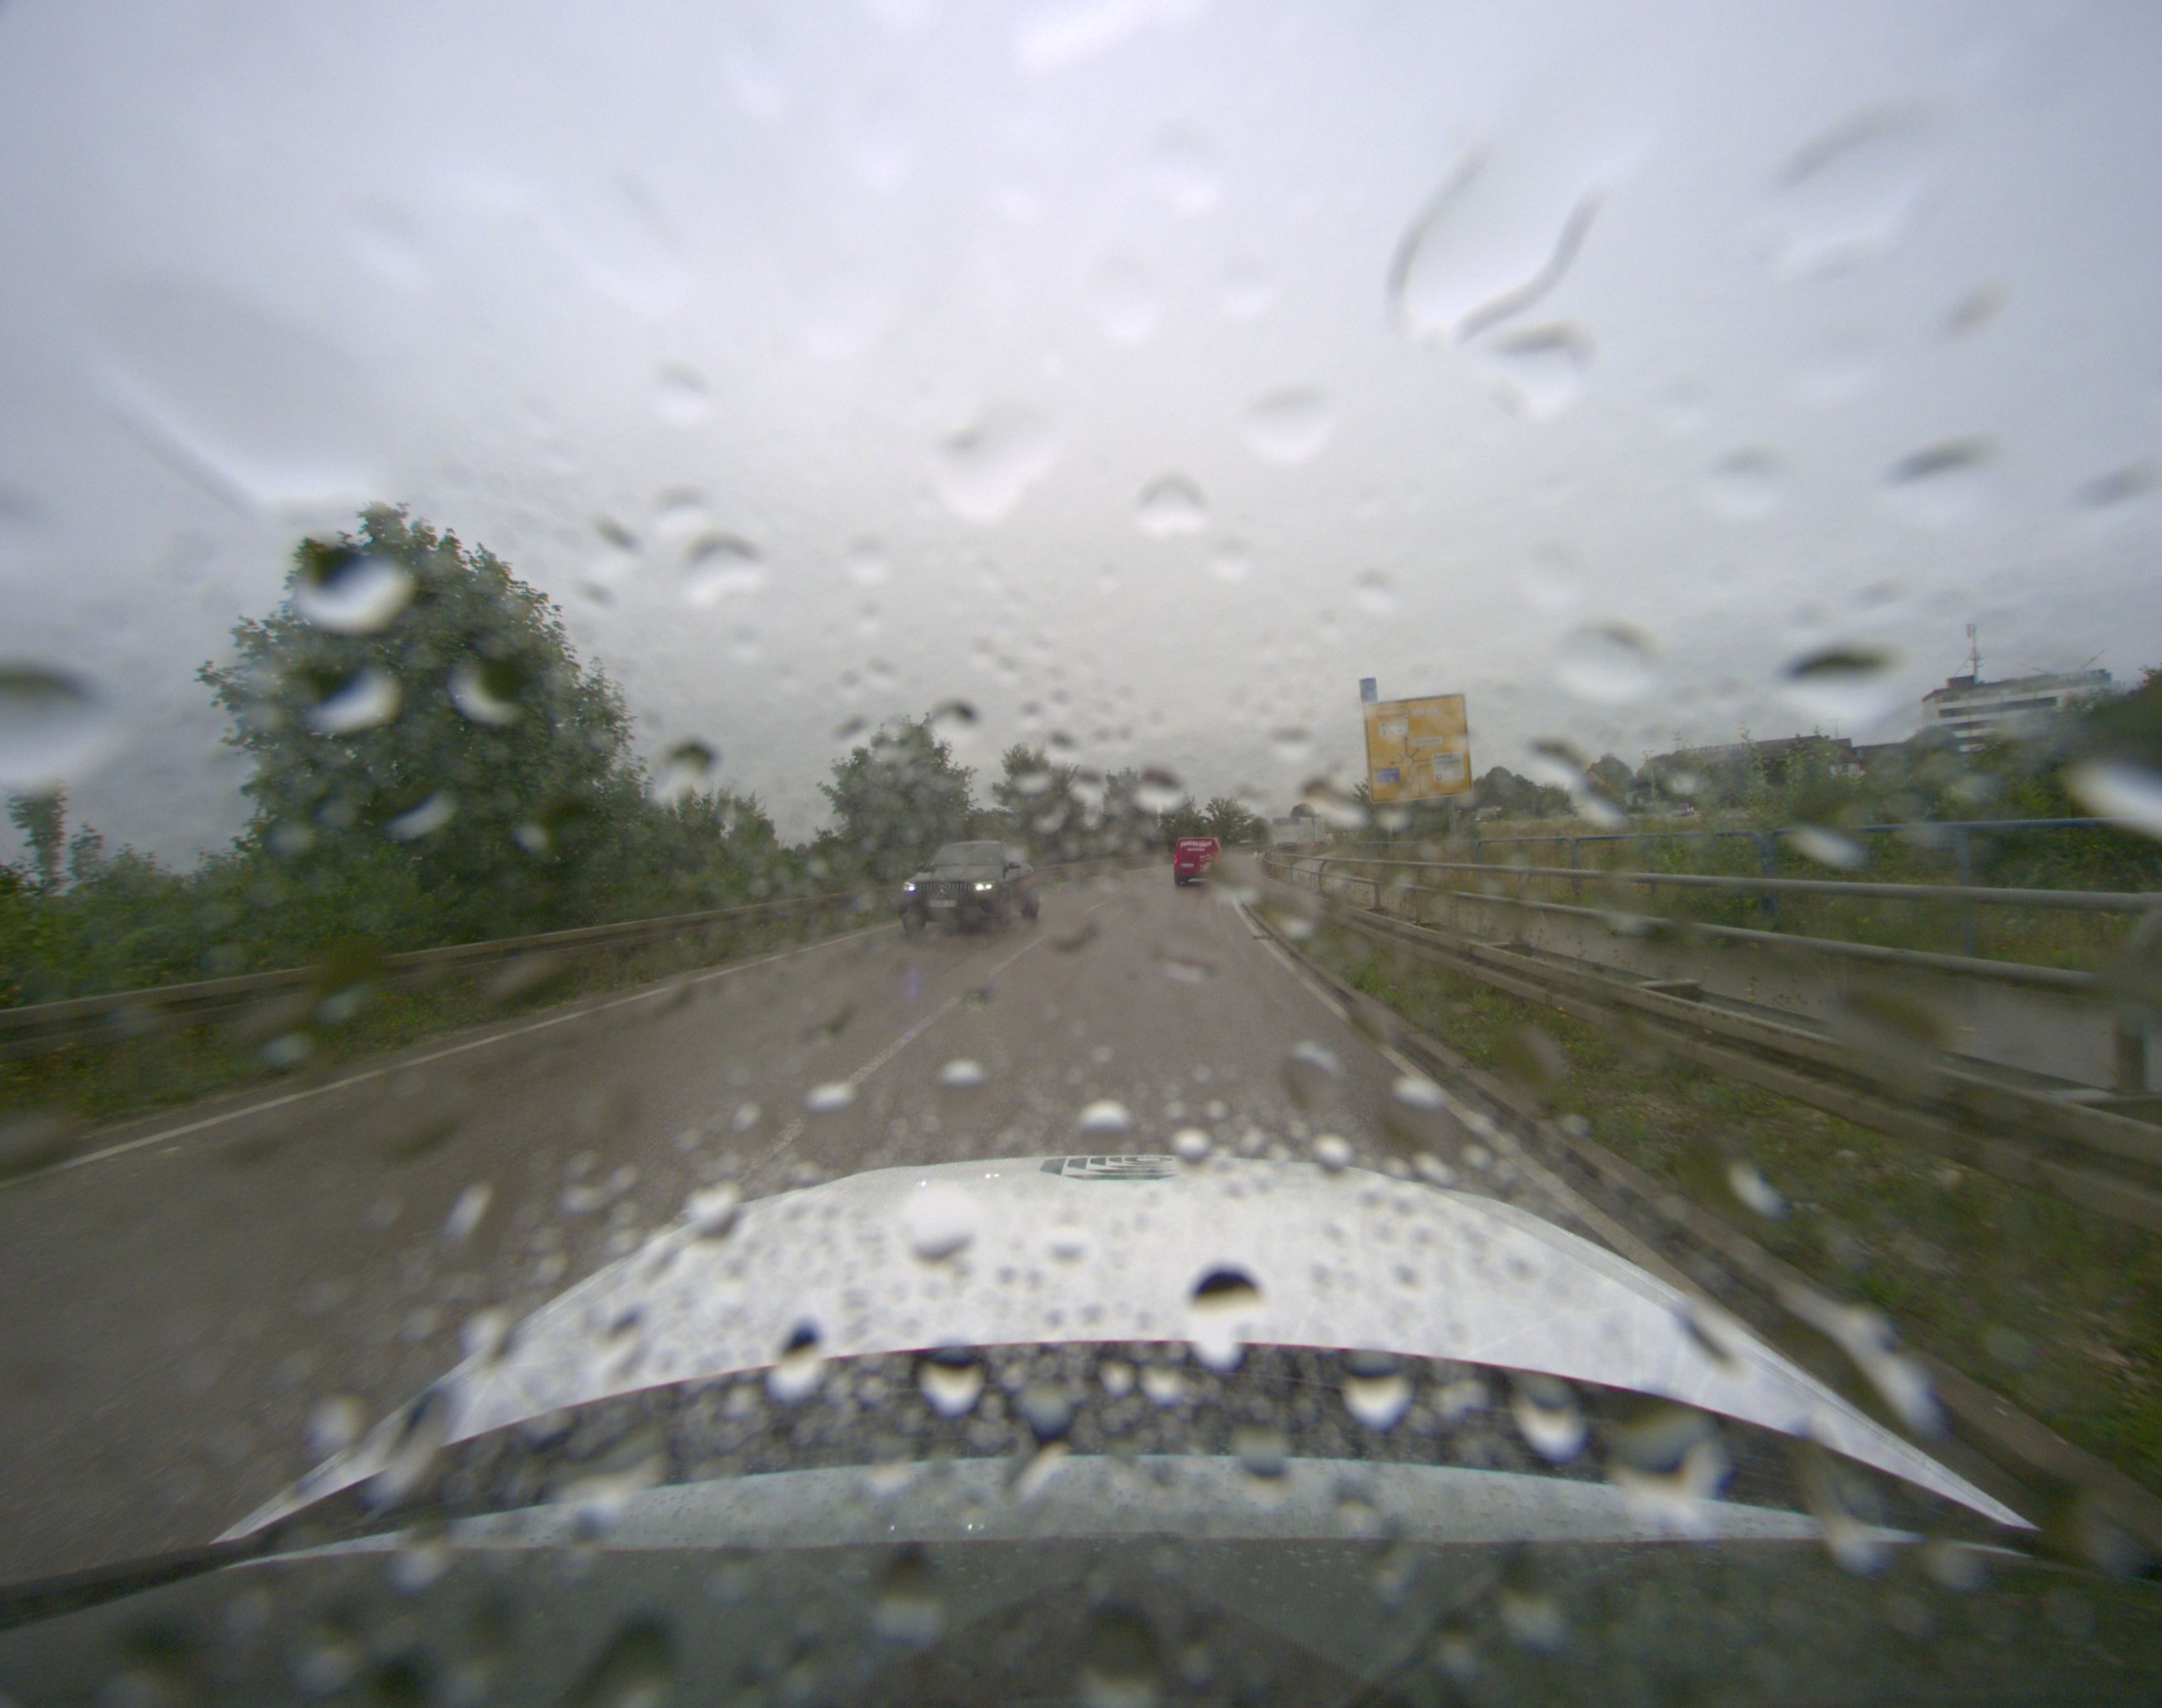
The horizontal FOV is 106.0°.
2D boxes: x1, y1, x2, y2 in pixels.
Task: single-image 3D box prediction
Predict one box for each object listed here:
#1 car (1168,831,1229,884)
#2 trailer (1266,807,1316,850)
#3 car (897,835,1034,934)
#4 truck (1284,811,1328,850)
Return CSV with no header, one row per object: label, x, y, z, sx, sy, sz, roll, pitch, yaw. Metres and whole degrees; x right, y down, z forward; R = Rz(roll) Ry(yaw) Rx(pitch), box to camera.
car,4.925,0.086,33.715,1.979,1.925,4.159,-4,1,14
trailer,20.606,-2.349,79.419,3.172,3.922,8.789,-1,0,24
car,-2.189,0.547,16.615,1.985,1.727,4.003,-2,0,3
truck,24.234,-2.423,87.401,3.172,3.922,8.789,-1,0,24
